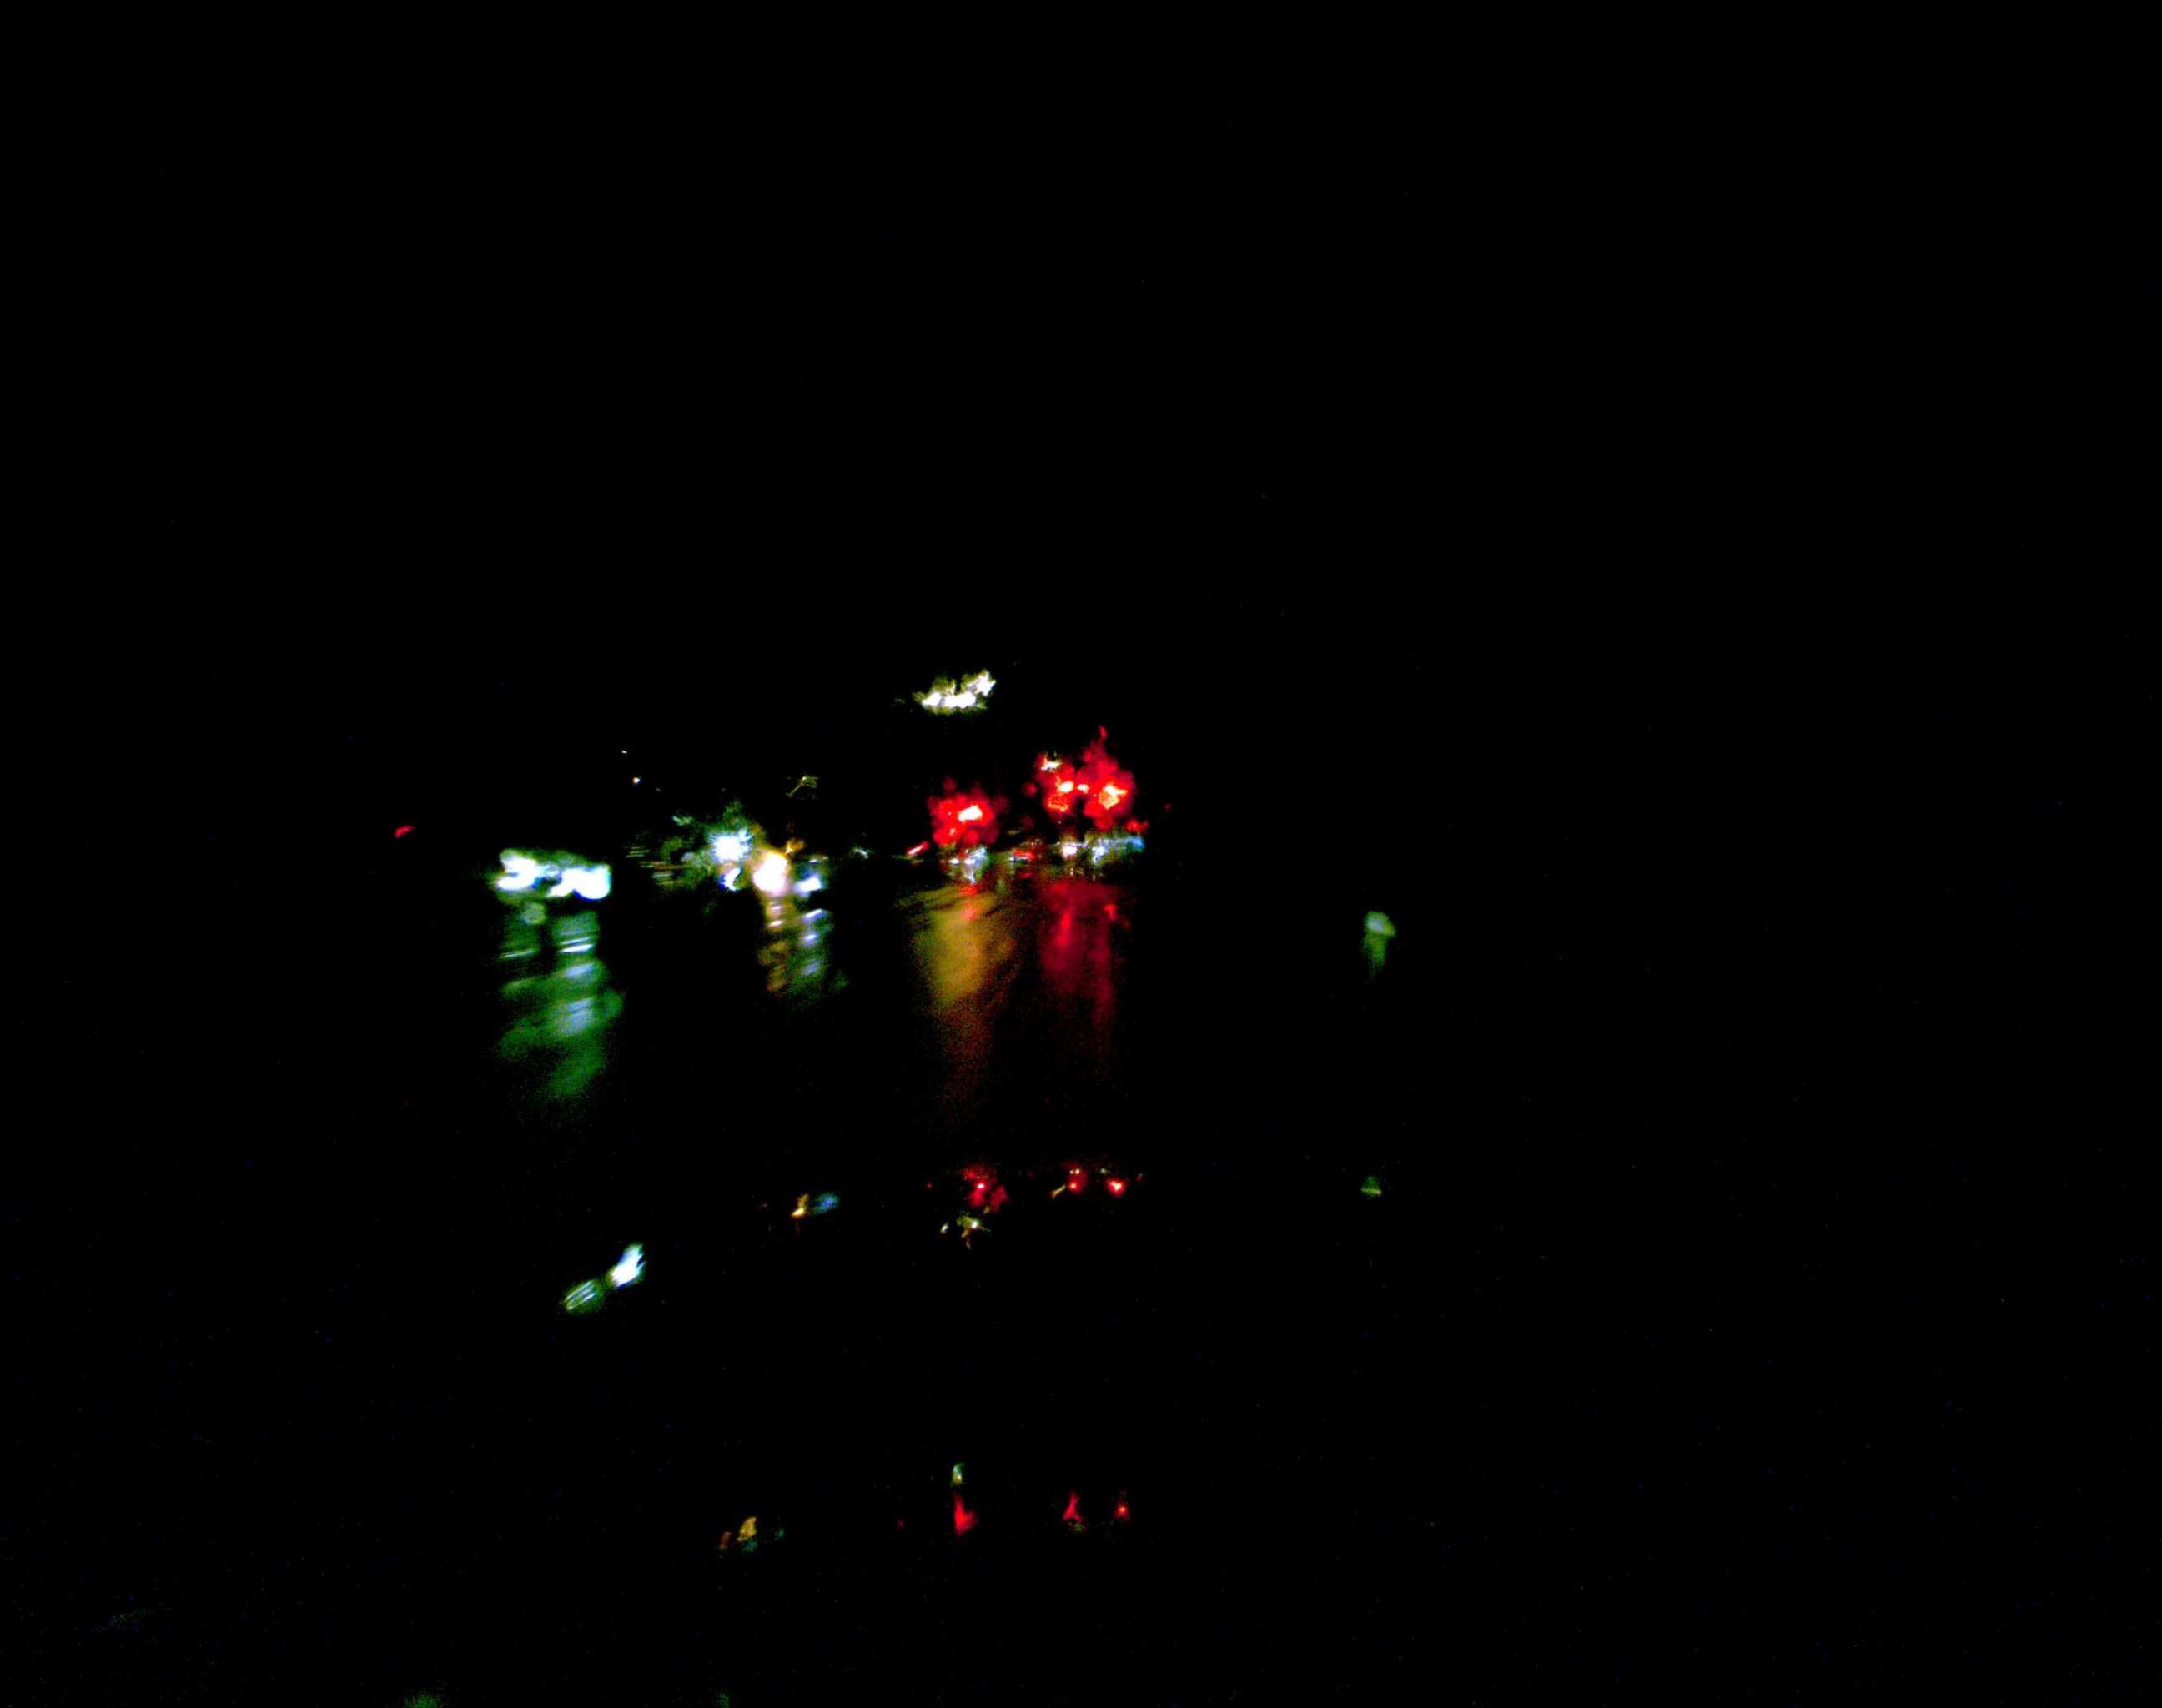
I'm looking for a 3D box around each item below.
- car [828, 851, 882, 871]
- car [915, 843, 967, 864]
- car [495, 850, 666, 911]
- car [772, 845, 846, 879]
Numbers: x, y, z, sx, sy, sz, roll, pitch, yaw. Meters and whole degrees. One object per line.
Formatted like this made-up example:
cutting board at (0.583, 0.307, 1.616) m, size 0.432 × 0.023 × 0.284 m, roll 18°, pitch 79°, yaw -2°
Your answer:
car at (-18.534, 0.564, 66.929) m, size 3.978 × 1.662 × 1.998 m, roll 0°, pitch 0°, yaw -4°
car at (-11.251, -0.042, 65.542) m, size 3.983 × 1.662 × 1.995 m, roll 0°, pitch 0°, yaw -7°
car at (-12.644, 0.608, 20.933) m, size 1.871 × 1.397 × 4.246 m, roll -1°, pitch 0°, yaw -2°
car at (-12.514, 0.329, 37.739) m, size 1.988 × 1.507 × 4.554 m, roll 0°, pitch 0°, yaw -1°
